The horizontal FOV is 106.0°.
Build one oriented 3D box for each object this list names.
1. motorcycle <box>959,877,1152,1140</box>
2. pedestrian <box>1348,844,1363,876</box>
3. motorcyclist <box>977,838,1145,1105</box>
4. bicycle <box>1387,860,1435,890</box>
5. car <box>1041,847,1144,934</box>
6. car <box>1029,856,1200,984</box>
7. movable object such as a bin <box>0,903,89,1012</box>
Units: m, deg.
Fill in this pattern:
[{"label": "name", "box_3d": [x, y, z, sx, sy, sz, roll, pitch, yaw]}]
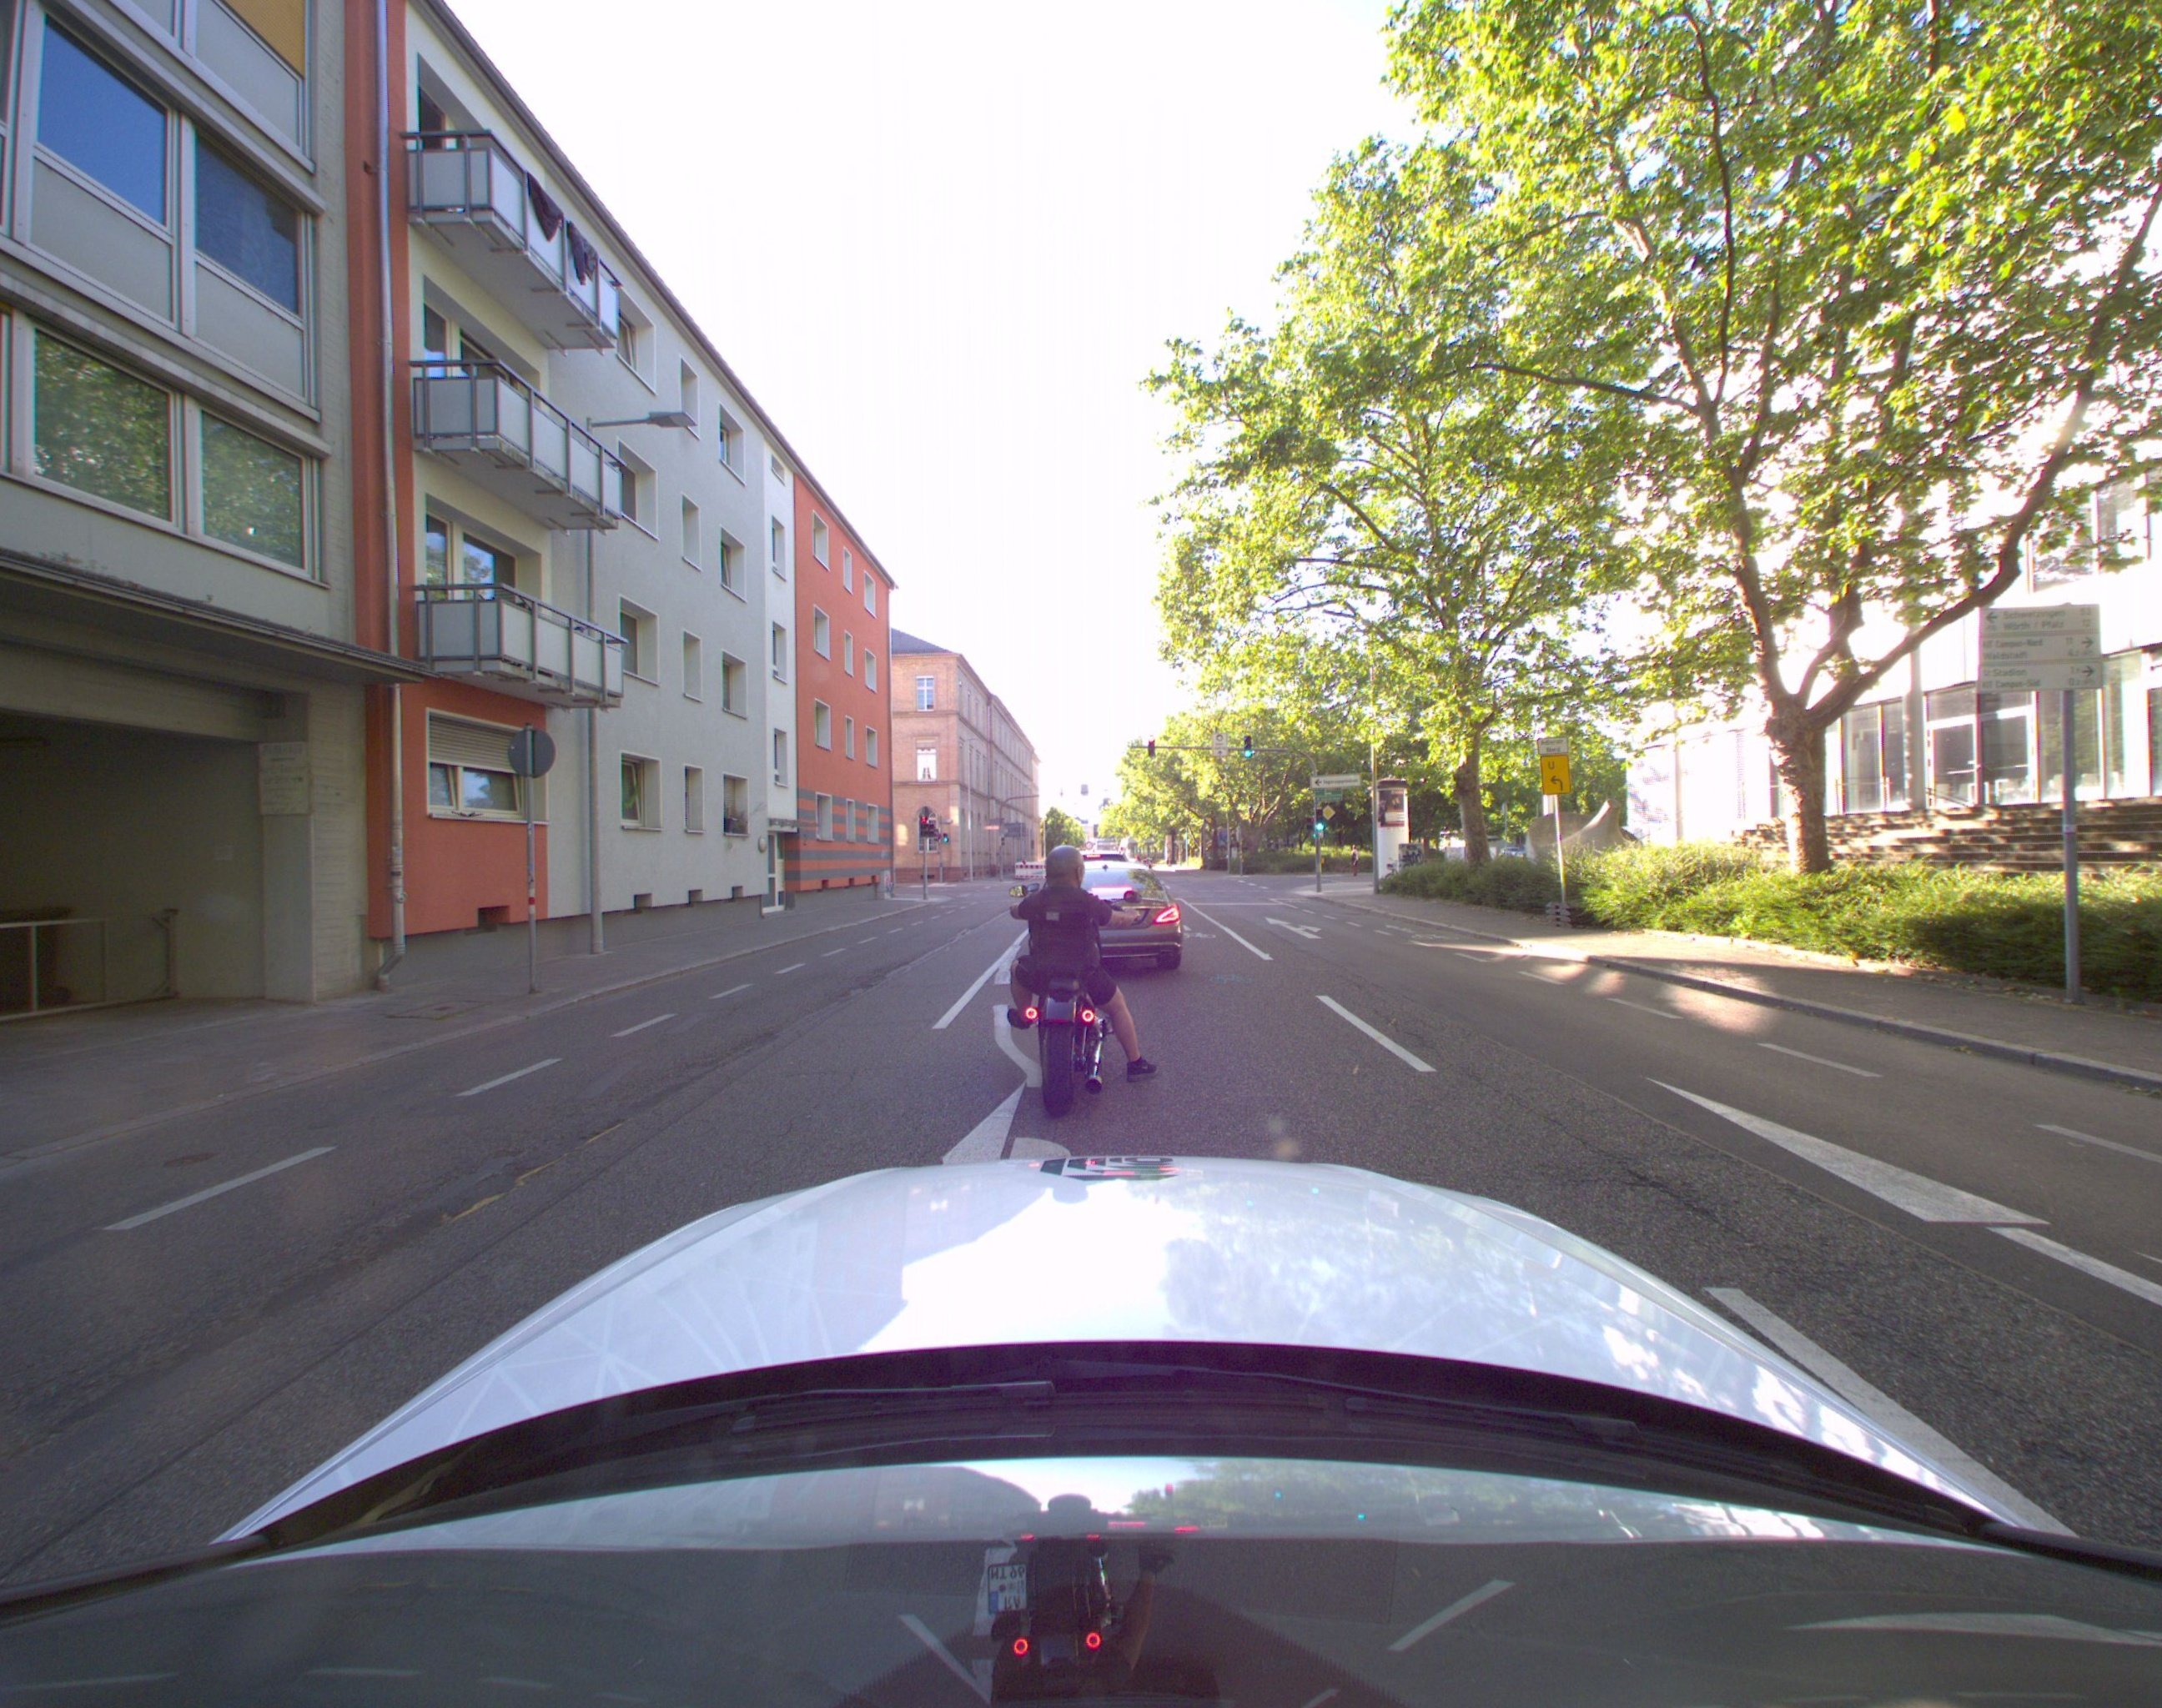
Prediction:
[{"label": "motorcycle", "box_3d": [-0.093, 0.835, 5.429, 0.977, 1.275, 2.408, -1, 0, 2]}, {"label": "pedestrian", "box_3d": [15.742, 0.340, 46.704, 0.671, 1.772, 0.621, -1, -1, 31]}, {"label": "motorcyclist", "box_3d": [-0.099, 0.704, 5.504, 0.977, 1.578, 1.249, -1, 0, 1]}, {"label": "bicycle", "box_3d": [11.077, 0.709, 27.339, 1.475, 0.980, 0.300, 0, -1, 7]}, {"label": "car", "box_3d": [0.286, 0.720, 17.689, 1.986, 1.665, 4.001, 0, -1, 2]}, {"label": "car", "box_3d": [0.260, 0.768, 11.762, 1.867, 1.444, 4.421, -1, 0, -6]}, {"label": "movable object such as a bin", "box_3d": [-11.293, 1.084, 8.664, 0.639, 1.065, 0.675, -1, 0, 1]}]
